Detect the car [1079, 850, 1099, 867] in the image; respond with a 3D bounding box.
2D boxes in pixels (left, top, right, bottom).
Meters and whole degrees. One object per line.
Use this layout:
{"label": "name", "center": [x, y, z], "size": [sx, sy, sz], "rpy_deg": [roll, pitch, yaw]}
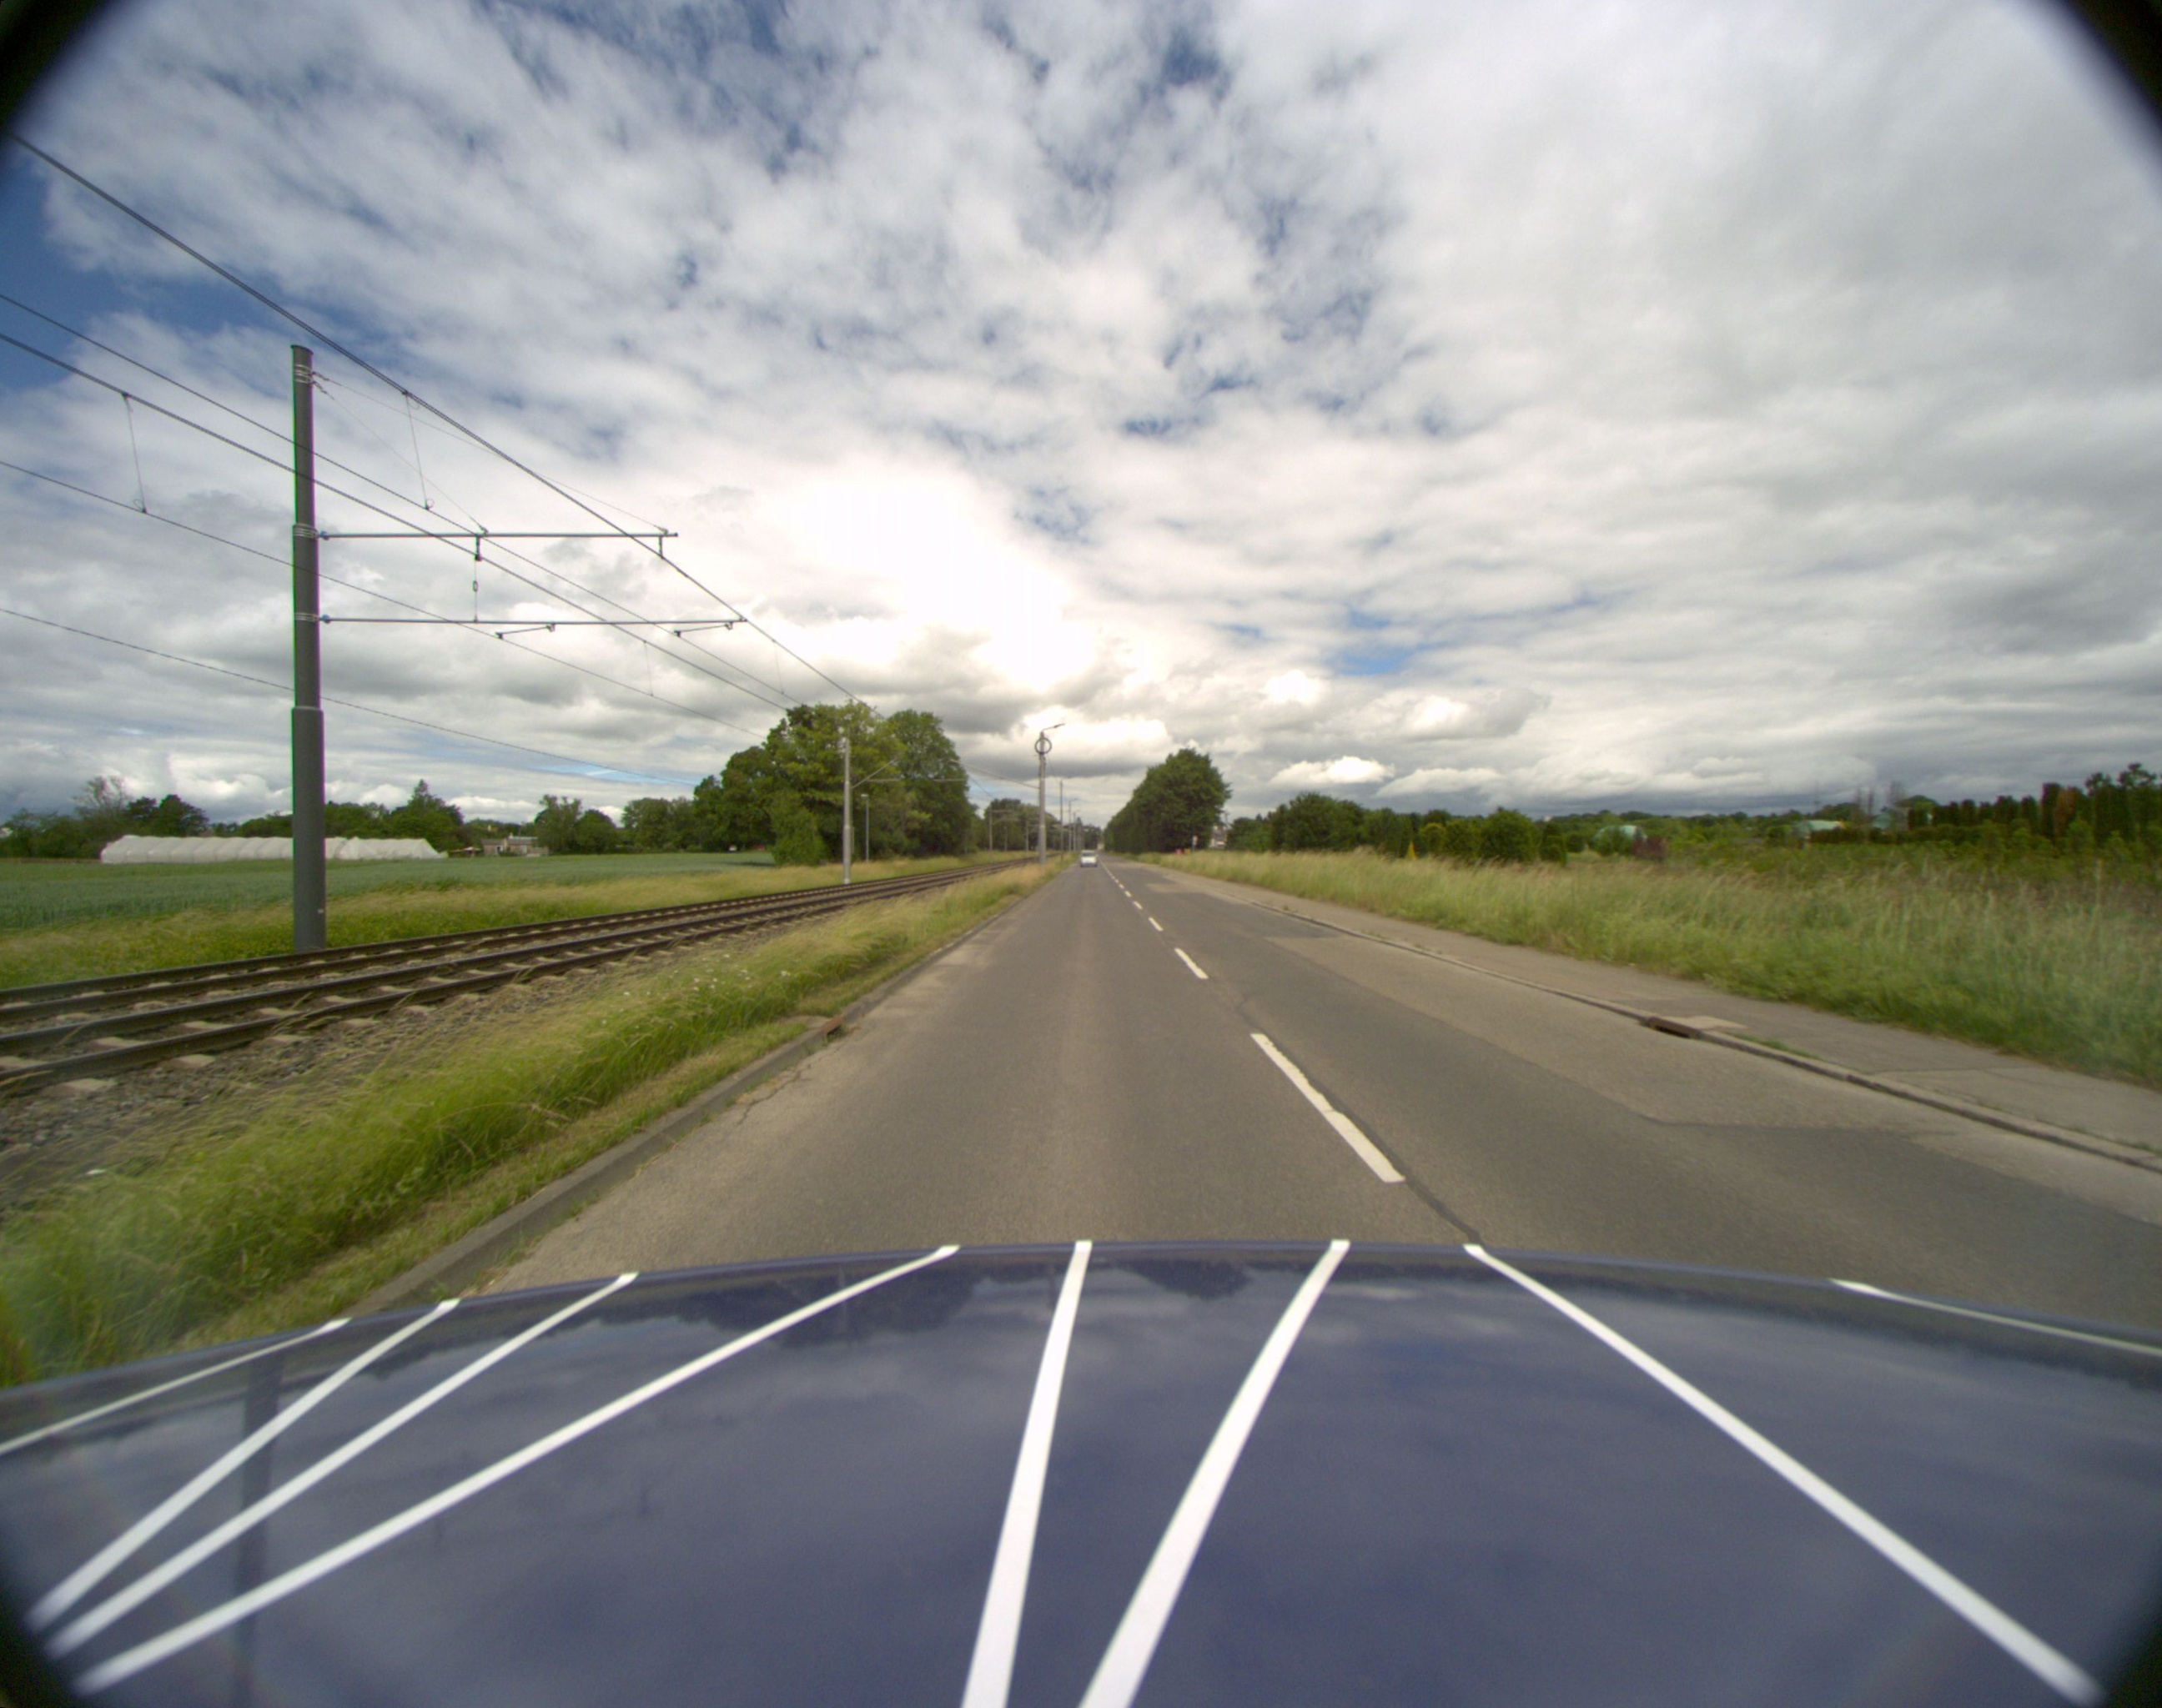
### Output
{"label": "car", "center": [0.816, 0.445, 77.107], "size": [1.999, 1.679, 3.999], "rpy_deg": [0, 0, 0]}
